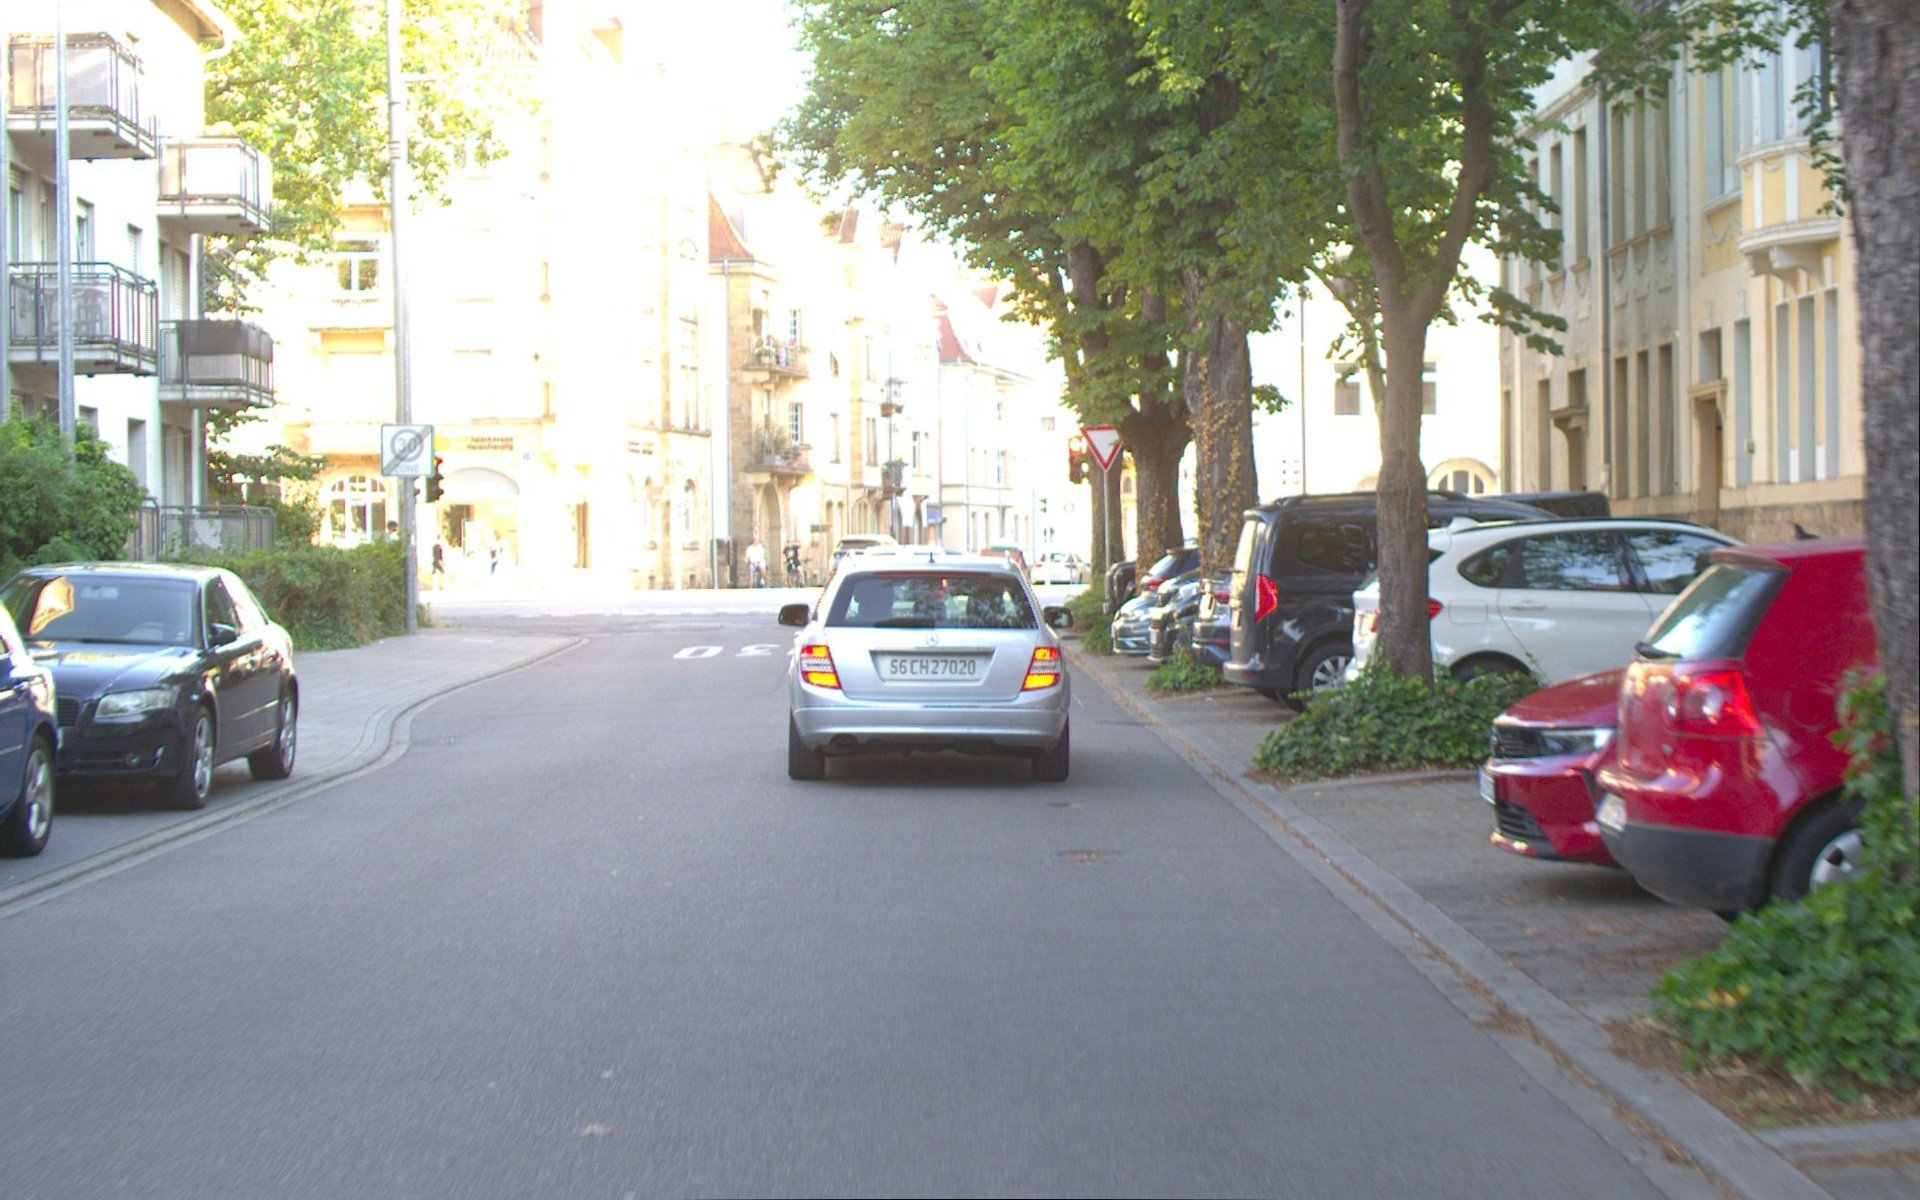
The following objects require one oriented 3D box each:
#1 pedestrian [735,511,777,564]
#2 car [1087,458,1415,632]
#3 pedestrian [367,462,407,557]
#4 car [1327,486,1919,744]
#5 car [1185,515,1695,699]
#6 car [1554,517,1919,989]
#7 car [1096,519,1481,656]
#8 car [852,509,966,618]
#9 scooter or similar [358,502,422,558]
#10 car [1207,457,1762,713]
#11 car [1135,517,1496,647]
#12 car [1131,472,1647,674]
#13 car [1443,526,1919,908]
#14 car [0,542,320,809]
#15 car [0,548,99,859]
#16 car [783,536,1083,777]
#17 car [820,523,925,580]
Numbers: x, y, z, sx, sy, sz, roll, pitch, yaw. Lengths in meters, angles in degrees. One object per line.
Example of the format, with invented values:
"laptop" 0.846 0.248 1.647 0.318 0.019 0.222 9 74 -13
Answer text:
"pedestrian" -6.625 -2.032 111.859 1.221 1.715 1.503 0 1 3
"car" 4.083 -0.800 48.705 4.388 2.356 2.000 -1 2 -2
"pedestrian" -11.439 -1.815 68.635 0.642 1.859 0.410 -3 2 -4
"car" 4.734 0.074 23.902 4.110 1.566 1.877 -2 1 0
"car" 4.280 0.036 31.075 4.287 1.535 1.877 -1 2 -2
"car" 4.341 0.409 12.024 4.190 1.470 1.851 -3 1 2
"car" 3.855 -0.171 40.801 4.287 1.412 1.877 -2 2 -2
"car" -0.740 -0.582 52.185 1.623 1.564 3.680 -1 2 0
"scooter or similar" -11.388 -1.399 68.651 1.175 1.048 0.409 -3 2 -4
"car" 4.298 -0.144 28.613 4.219 1.890 1.906 -2 1 -2
"car" 4.431 -0.249 43.295 4.287 1.535 1.899 -1 2 -2
"car" 4.403 -0.304 35.871 5.053 1.982 2.072 -1 2 -2
"car" 4.384 0.393 14.537 4.411 1.414 1.877 -3 1 2
"car" -5.269 0.392 21.611 1.695 1.442 4.358 0 2 0
"car" -5.381 0.507 16.070 1.653 1.442 4.238 1 2 0
"car" -0.154 0.303 22.437 1.784 1.432 3.851 0 1 0
"car" -2.545 -1.446 101.389 1.995 1.579 3.997 0 2 16
